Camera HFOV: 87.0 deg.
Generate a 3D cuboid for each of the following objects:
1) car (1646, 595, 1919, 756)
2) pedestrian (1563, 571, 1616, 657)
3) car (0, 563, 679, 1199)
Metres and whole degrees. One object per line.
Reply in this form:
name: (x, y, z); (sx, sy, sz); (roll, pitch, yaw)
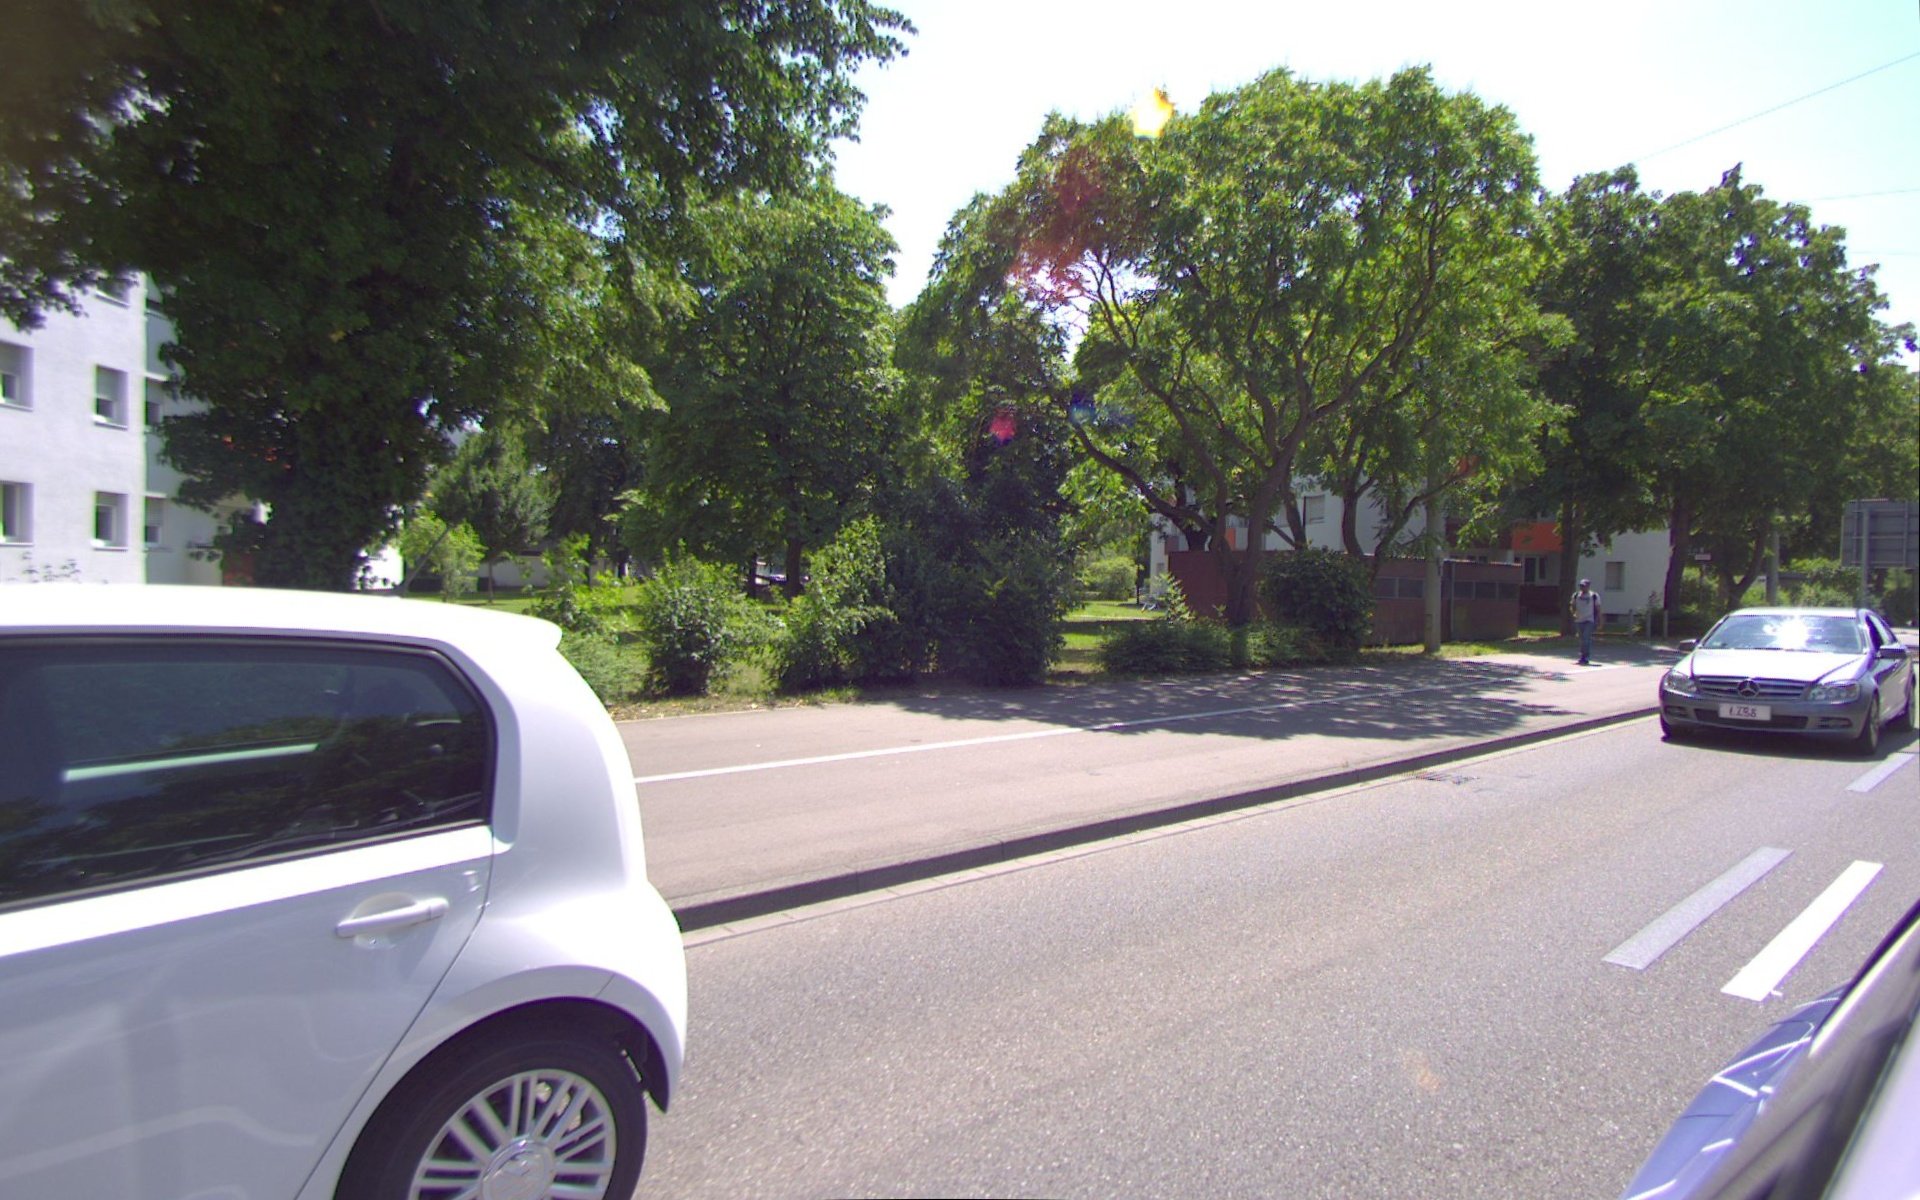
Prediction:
car: (9.429, 0.705, 11.338); (3.900, 1.478, 1.902); (1, 0, -40)
pedestrian: (12.538, 0.258, 20.156); (0.841, 1.664, 0.670); (0, 1, -40)
car: (-2.577, 0.672, 1.594); (3.788, 1.467, 1.661); (0, 0, -42)
